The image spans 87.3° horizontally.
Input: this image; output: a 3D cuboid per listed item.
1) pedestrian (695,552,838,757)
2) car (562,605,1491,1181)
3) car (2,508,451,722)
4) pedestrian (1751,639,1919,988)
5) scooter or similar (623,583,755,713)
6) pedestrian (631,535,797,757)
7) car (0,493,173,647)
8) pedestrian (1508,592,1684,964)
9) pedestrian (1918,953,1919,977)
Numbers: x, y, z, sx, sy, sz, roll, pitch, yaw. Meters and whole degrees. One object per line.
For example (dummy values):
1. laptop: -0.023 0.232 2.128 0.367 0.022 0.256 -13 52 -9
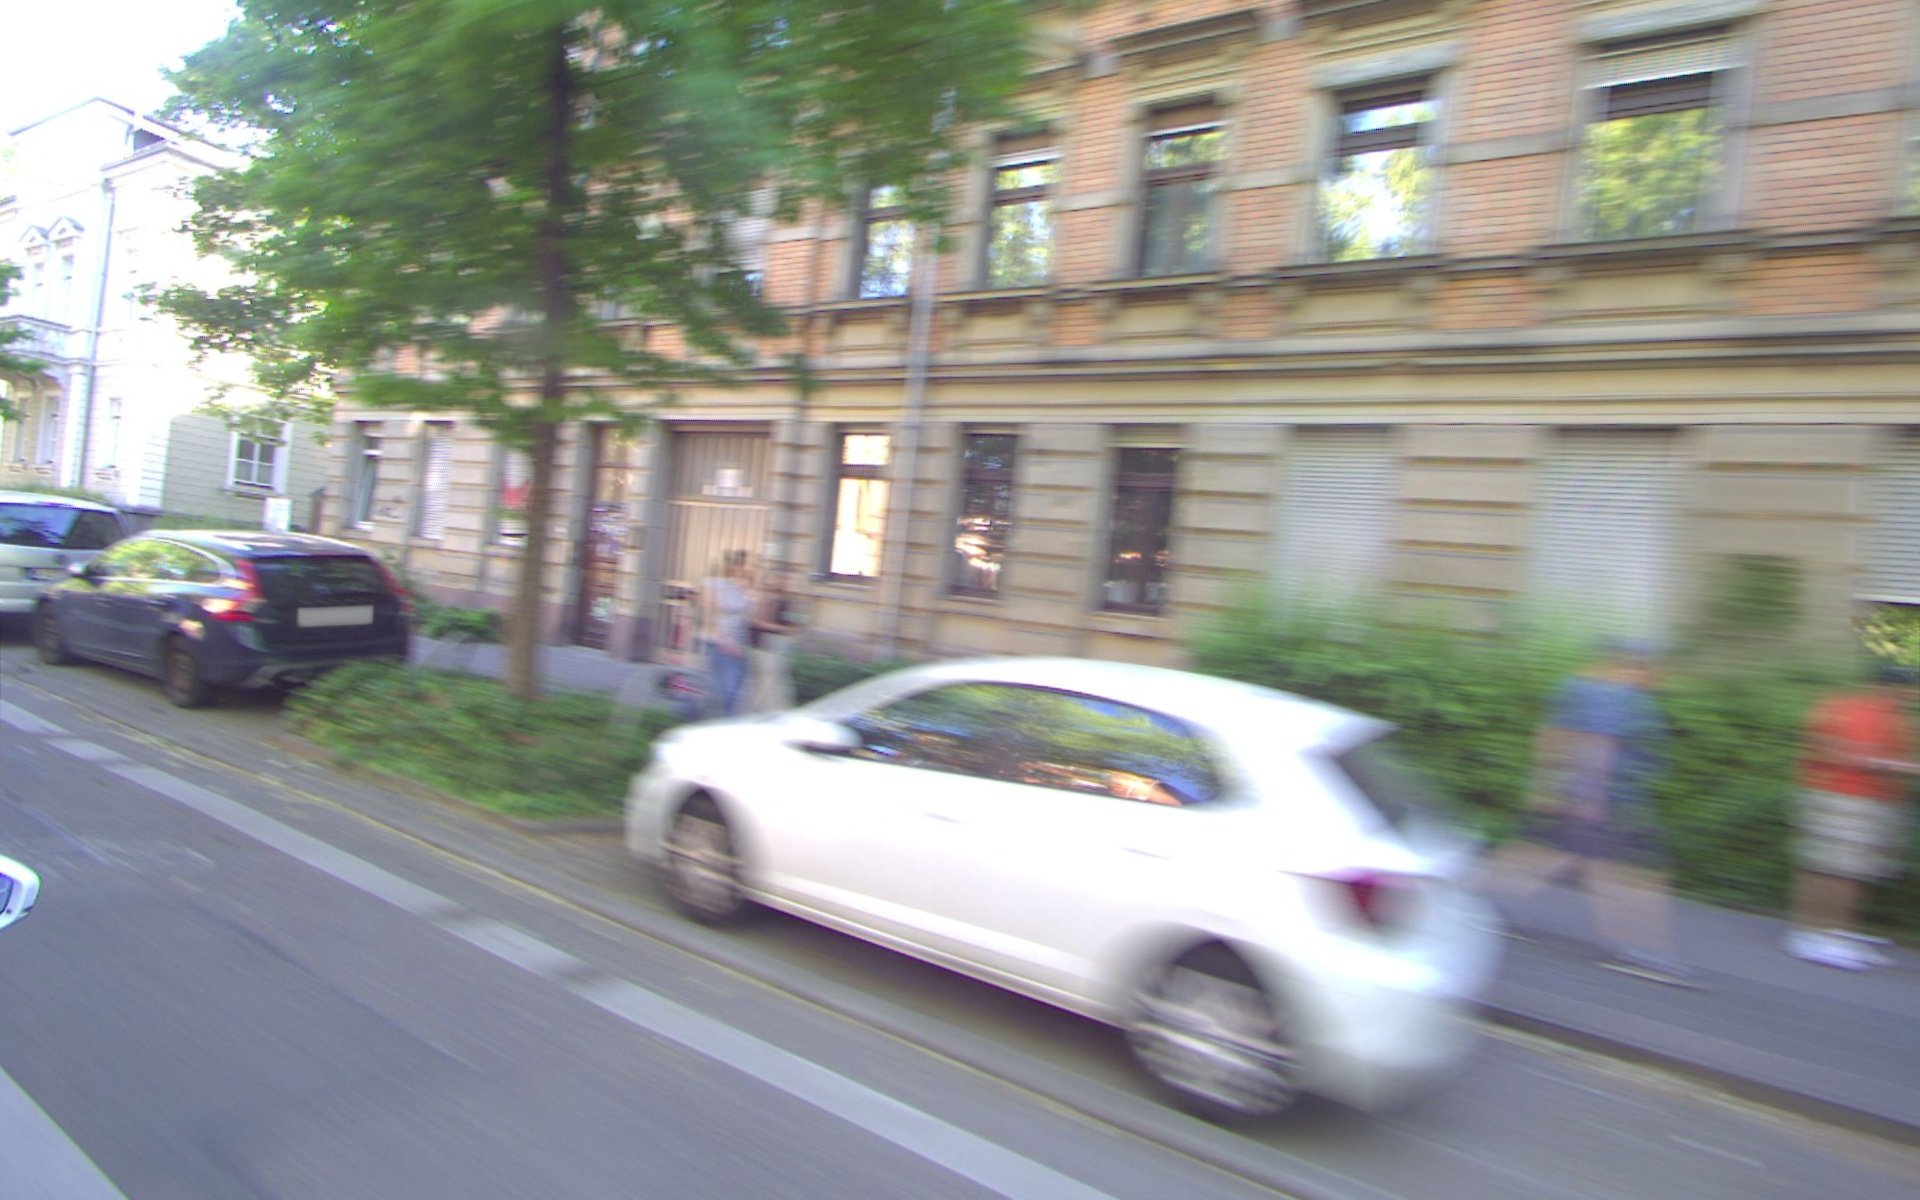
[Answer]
1. pedestrian: -1.772 0.497 9.281 0.841 1.729 0.728 7 -1 25
2. car: 0.190 0.929 4.915 4.039 1.386 1.884 6 2 32
3. car: -7.291 0.044 9.890 4.516 1.486 1.885 6 2 30
4. pedestrian: 5.167 1.179 5.772 0.715 1.814 0.600 7 0 27
5. scooter or similar: -2.990 0.512 11.079 1.313 1.262 0.576 6 1 33
6. pedestrian: -2.083 0.383 8.550 0.940 1.713 0.728 7 -1 25
7. car: -11.485 -0.475 12.054 4.172 1.589 1.884 6 2 32
8. pedestrian: 3.449 0.920 5.491 0.590 1.814 0.727 7 -1 32
9. pedestrian: 5.866 1.298 5.440 0.716 1.814 0.600 7 0 29
